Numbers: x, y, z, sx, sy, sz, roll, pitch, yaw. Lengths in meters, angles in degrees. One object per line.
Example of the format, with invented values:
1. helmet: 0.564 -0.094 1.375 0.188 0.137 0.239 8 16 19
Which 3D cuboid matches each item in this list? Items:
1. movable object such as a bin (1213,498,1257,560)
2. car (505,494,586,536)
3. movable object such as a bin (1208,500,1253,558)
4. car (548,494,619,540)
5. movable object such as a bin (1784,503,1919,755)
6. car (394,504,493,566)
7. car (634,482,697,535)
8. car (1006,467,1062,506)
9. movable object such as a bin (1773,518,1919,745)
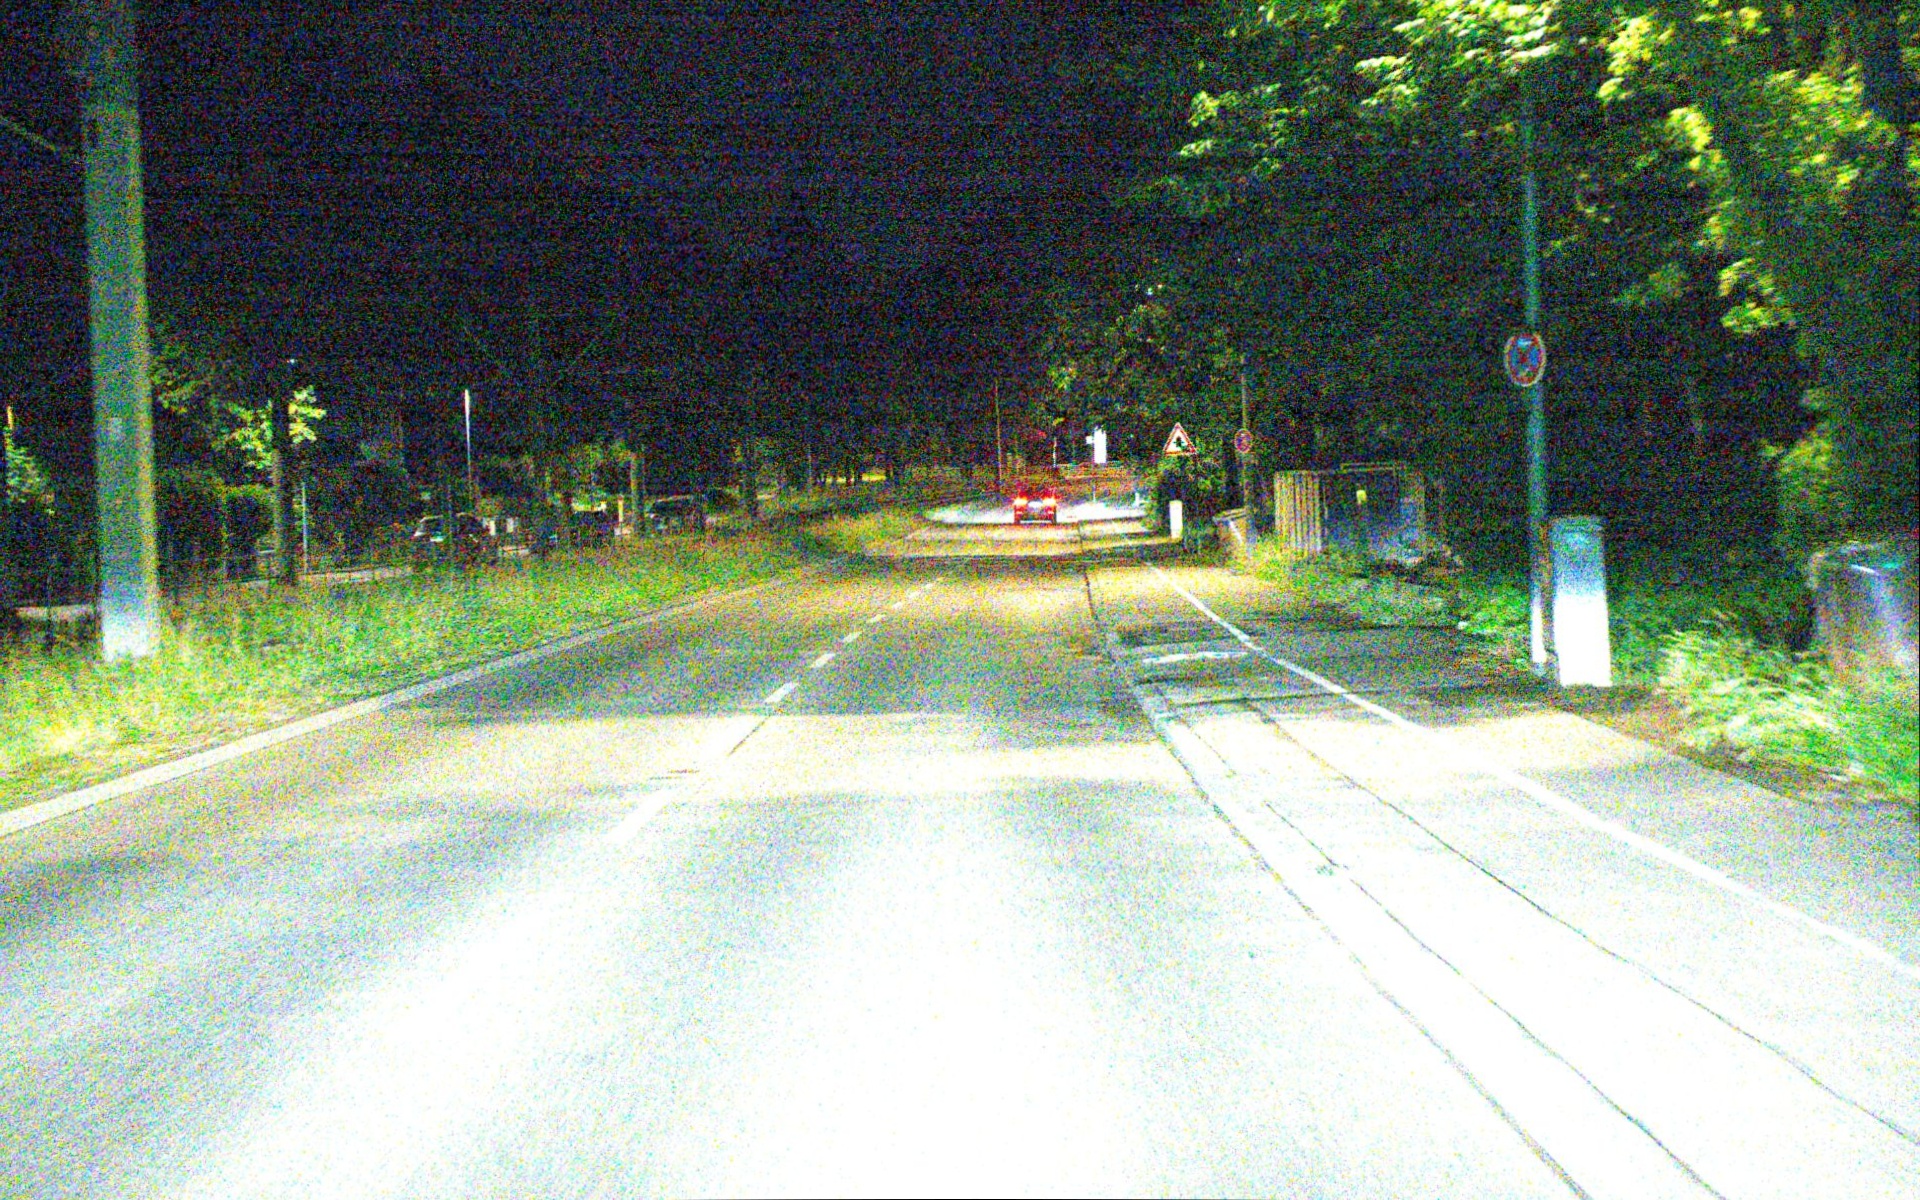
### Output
1. movable object such as a bin: 5.326 -1.381 66.588 0.833 1.177 0.828 -1 2 4
2. car: -14.045 -2.897 116.849 1.993 1.333 5.432 -2 2 1
3. movable object such as a bin: 5.304 -1.395 67.466 0.857 1.115 0.840 -1 2 4
4. car: -13.415 -2.977 122.646 1.993 1.524 4.000 -2 2 1
5. movable object such as a bin: 4.475 0.130 16.935 0.724 1.196 0.719 -1 2 8
6. car: -14.564 -1.855 97.157 1.993 1.622 4.677 -2 2 1
7. car: -12.604 -3.937 147.386 2.091 2.006 4.000 -6 2 1
8. car: 3.129 -4.806 146.164 2.161 1.577 4.014 -1 1 -2
9. movable object such as a bin: 4.626 0.151 17.768 0.723 1.117 0.893 -1 2 8
